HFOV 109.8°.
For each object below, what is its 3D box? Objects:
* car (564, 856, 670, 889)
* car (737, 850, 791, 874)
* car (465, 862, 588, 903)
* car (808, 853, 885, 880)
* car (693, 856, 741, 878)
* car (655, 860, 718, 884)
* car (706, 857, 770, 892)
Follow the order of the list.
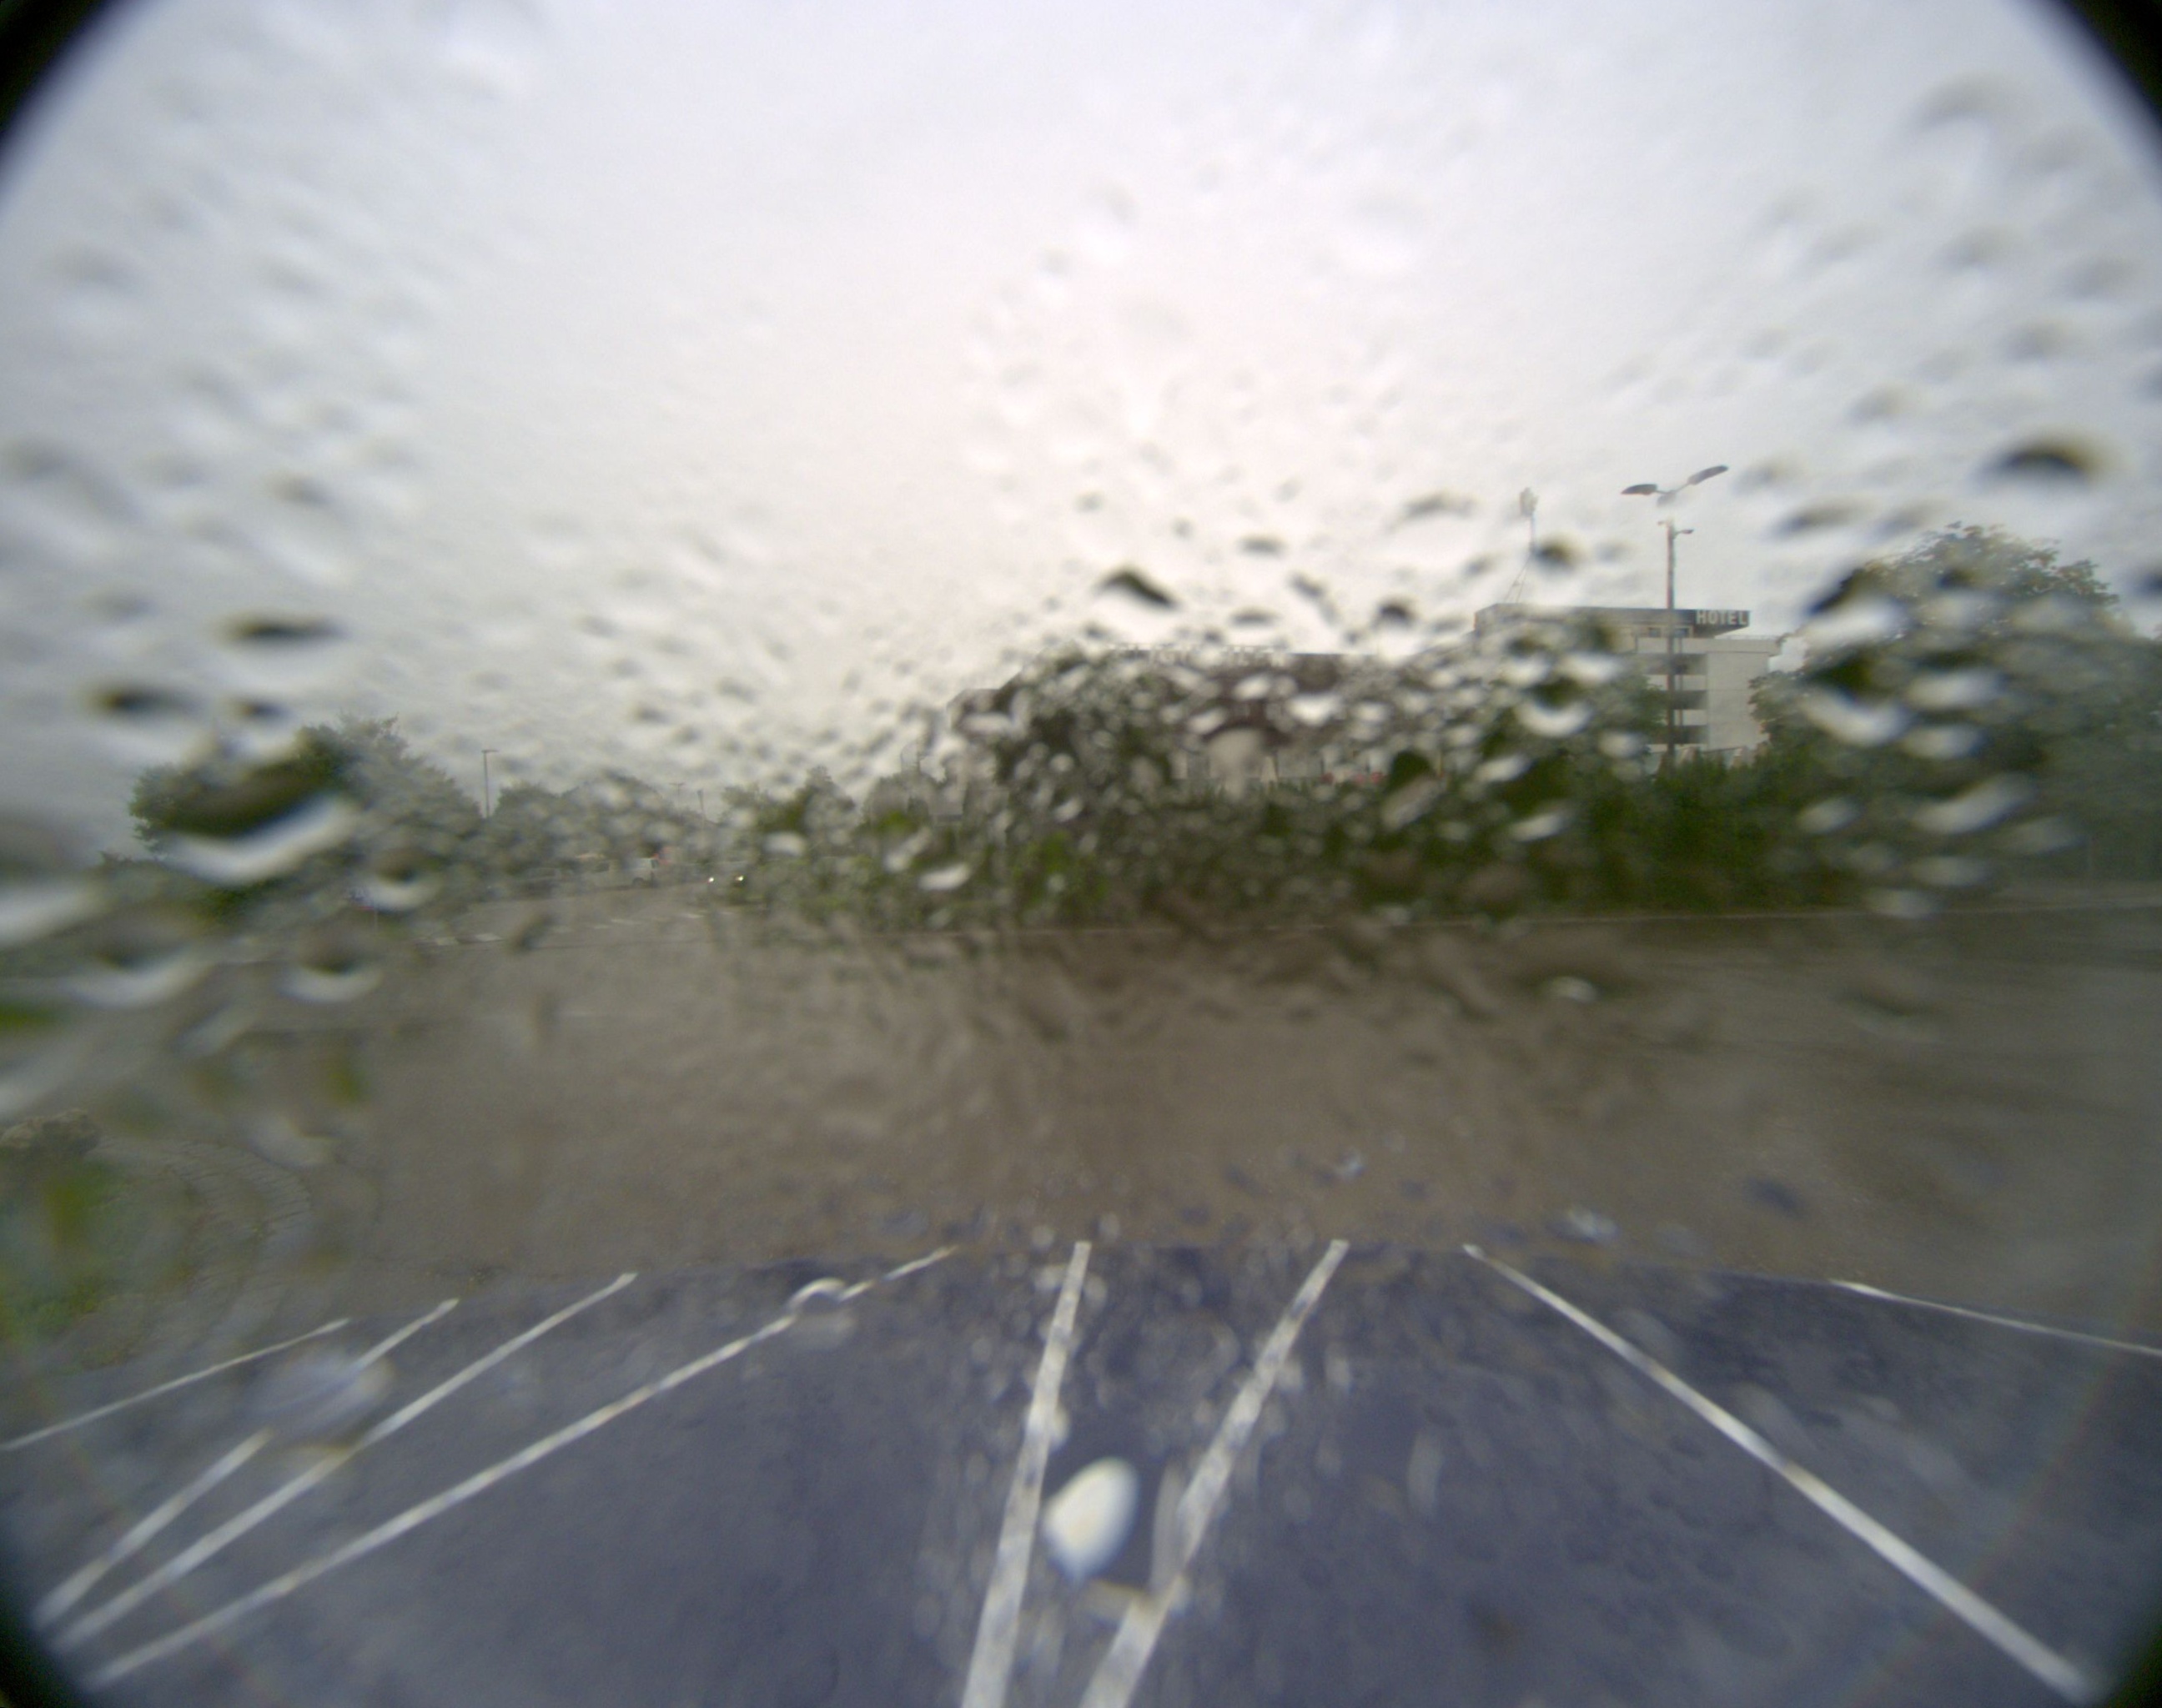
[{"bbox_3d":[-29.878,1.155,49.052,5.378,1.712,1.998,-4,1,-10],"label":"car"},{"bbox_3d":[-26.427,0.685,63.363,3.990,1.718,1.993,-3,1,29],"label":"car"},{"bbox_3d":[-28.489,1.433,39.169,4.609,1.712,1.998,-4,1,-10],"label":"car"},{"bbox_3d":[-14.575,0.728,47.476,4.361,1.417,1.848,-3,1,-11],"label":"car"},{"bbox_3d":[-28.366,1.040,59.142,3.716,1.540,1.669,-3,1,35],"label":"car"},{"bbox_3d":[-29.502,1.337,56.765,4.636,1.541,2.003,-3,1,32],"label":"car"},{"bbox_3d":[-16.717,0.932,37.261,1.706,1.417,4.356,-3,2,-9],"label":"car"}]
